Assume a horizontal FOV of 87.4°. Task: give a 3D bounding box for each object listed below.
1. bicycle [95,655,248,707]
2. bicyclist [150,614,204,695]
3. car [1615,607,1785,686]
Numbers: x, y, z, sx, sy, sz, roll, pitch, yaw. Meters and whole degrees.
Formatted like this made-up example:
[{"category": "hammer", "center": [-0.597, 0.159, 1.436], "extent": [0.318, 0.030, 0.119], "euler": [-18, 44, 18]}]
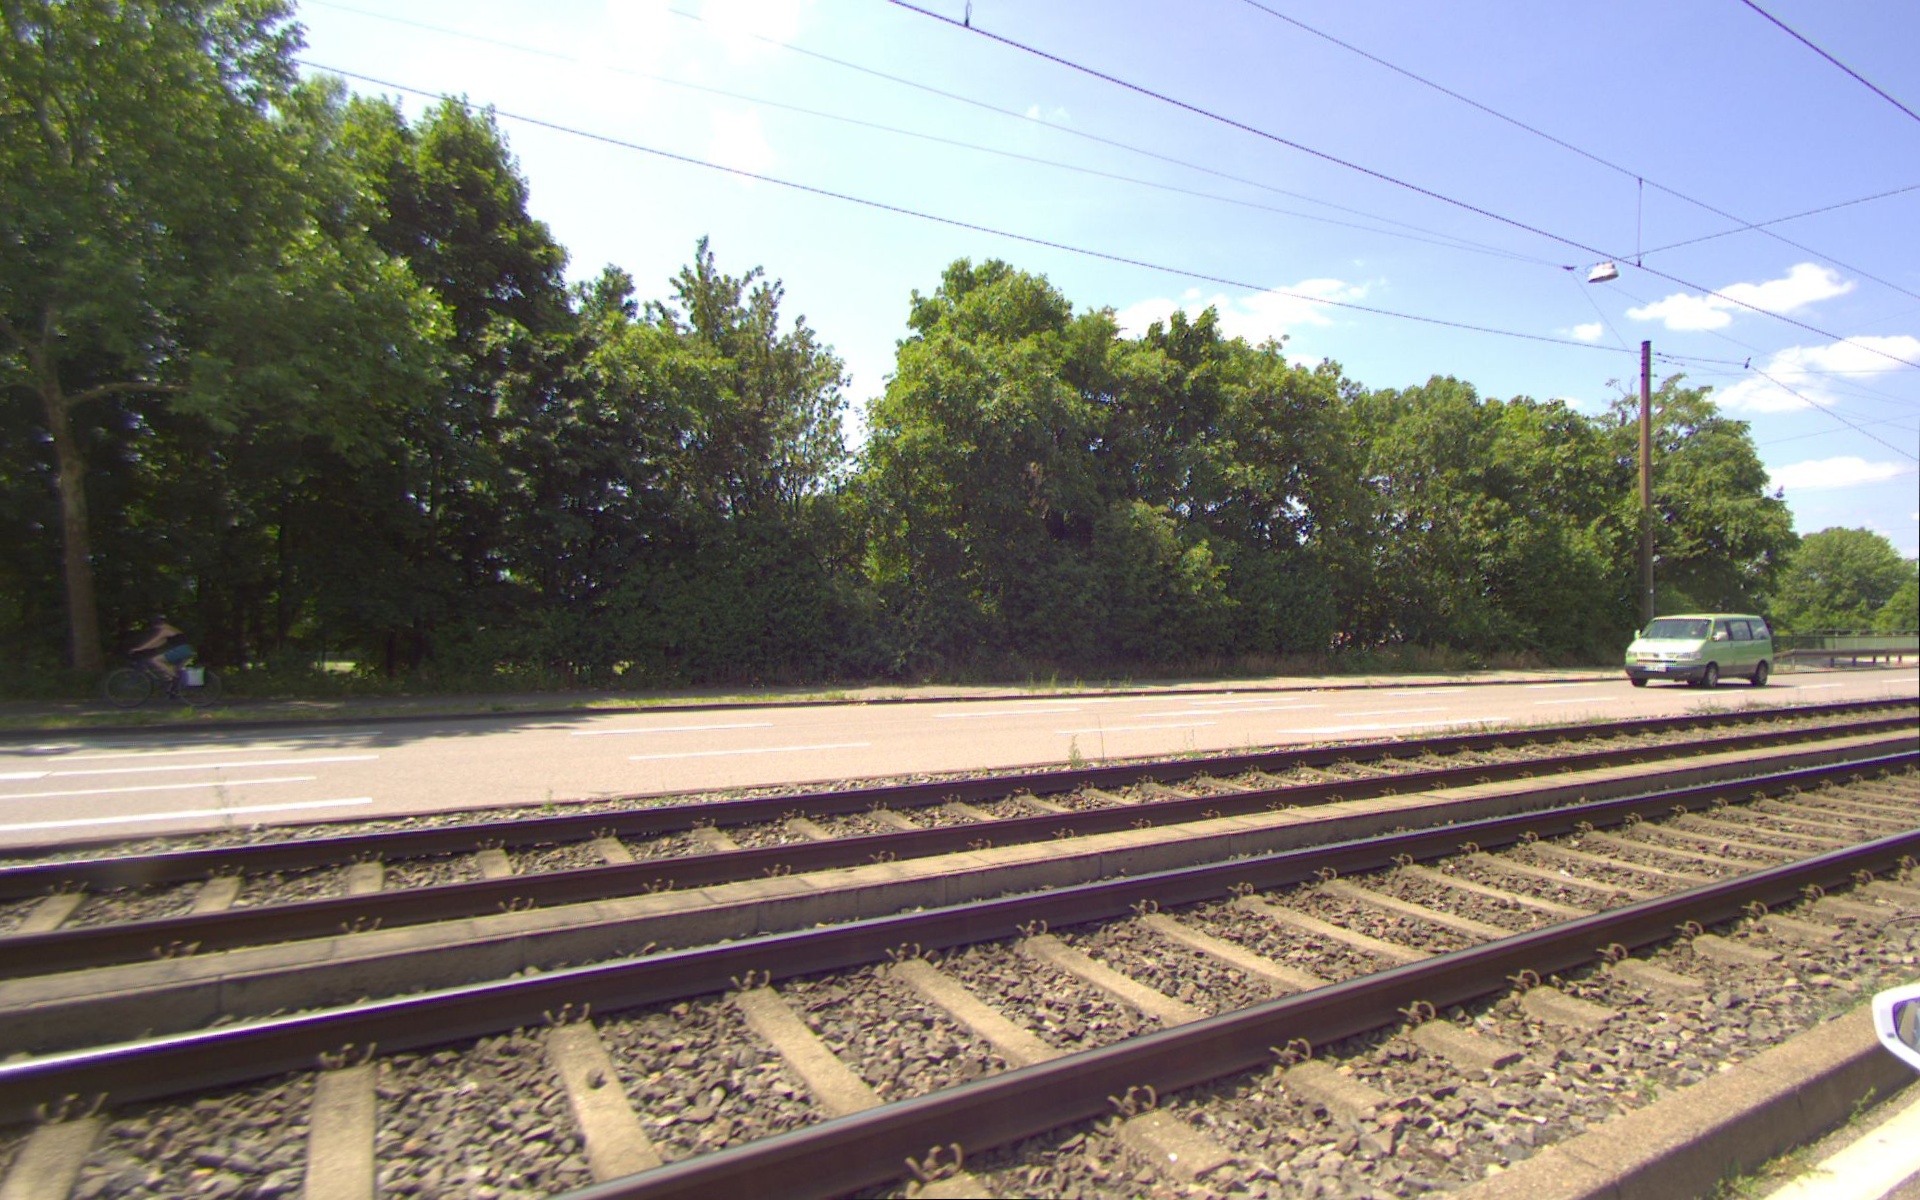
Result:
[{"category": "bicycle", "center": [-13.926, 1.426, 17.811], "extent": [2.043, 0.829, 0.584], "euler": [2, 0, -29]}, {"category": "bicyclist", "center": [-13.887, 0.956, 17.827], "extent": [0.624, 1.386, 0.566], "euler": [2, 0, -29]}, {"category": "car", "center": [19.844, 1.241, 26.871], "extent": [5.118, 1.950, 1.803], "euler": [2, -2, -30]}]
